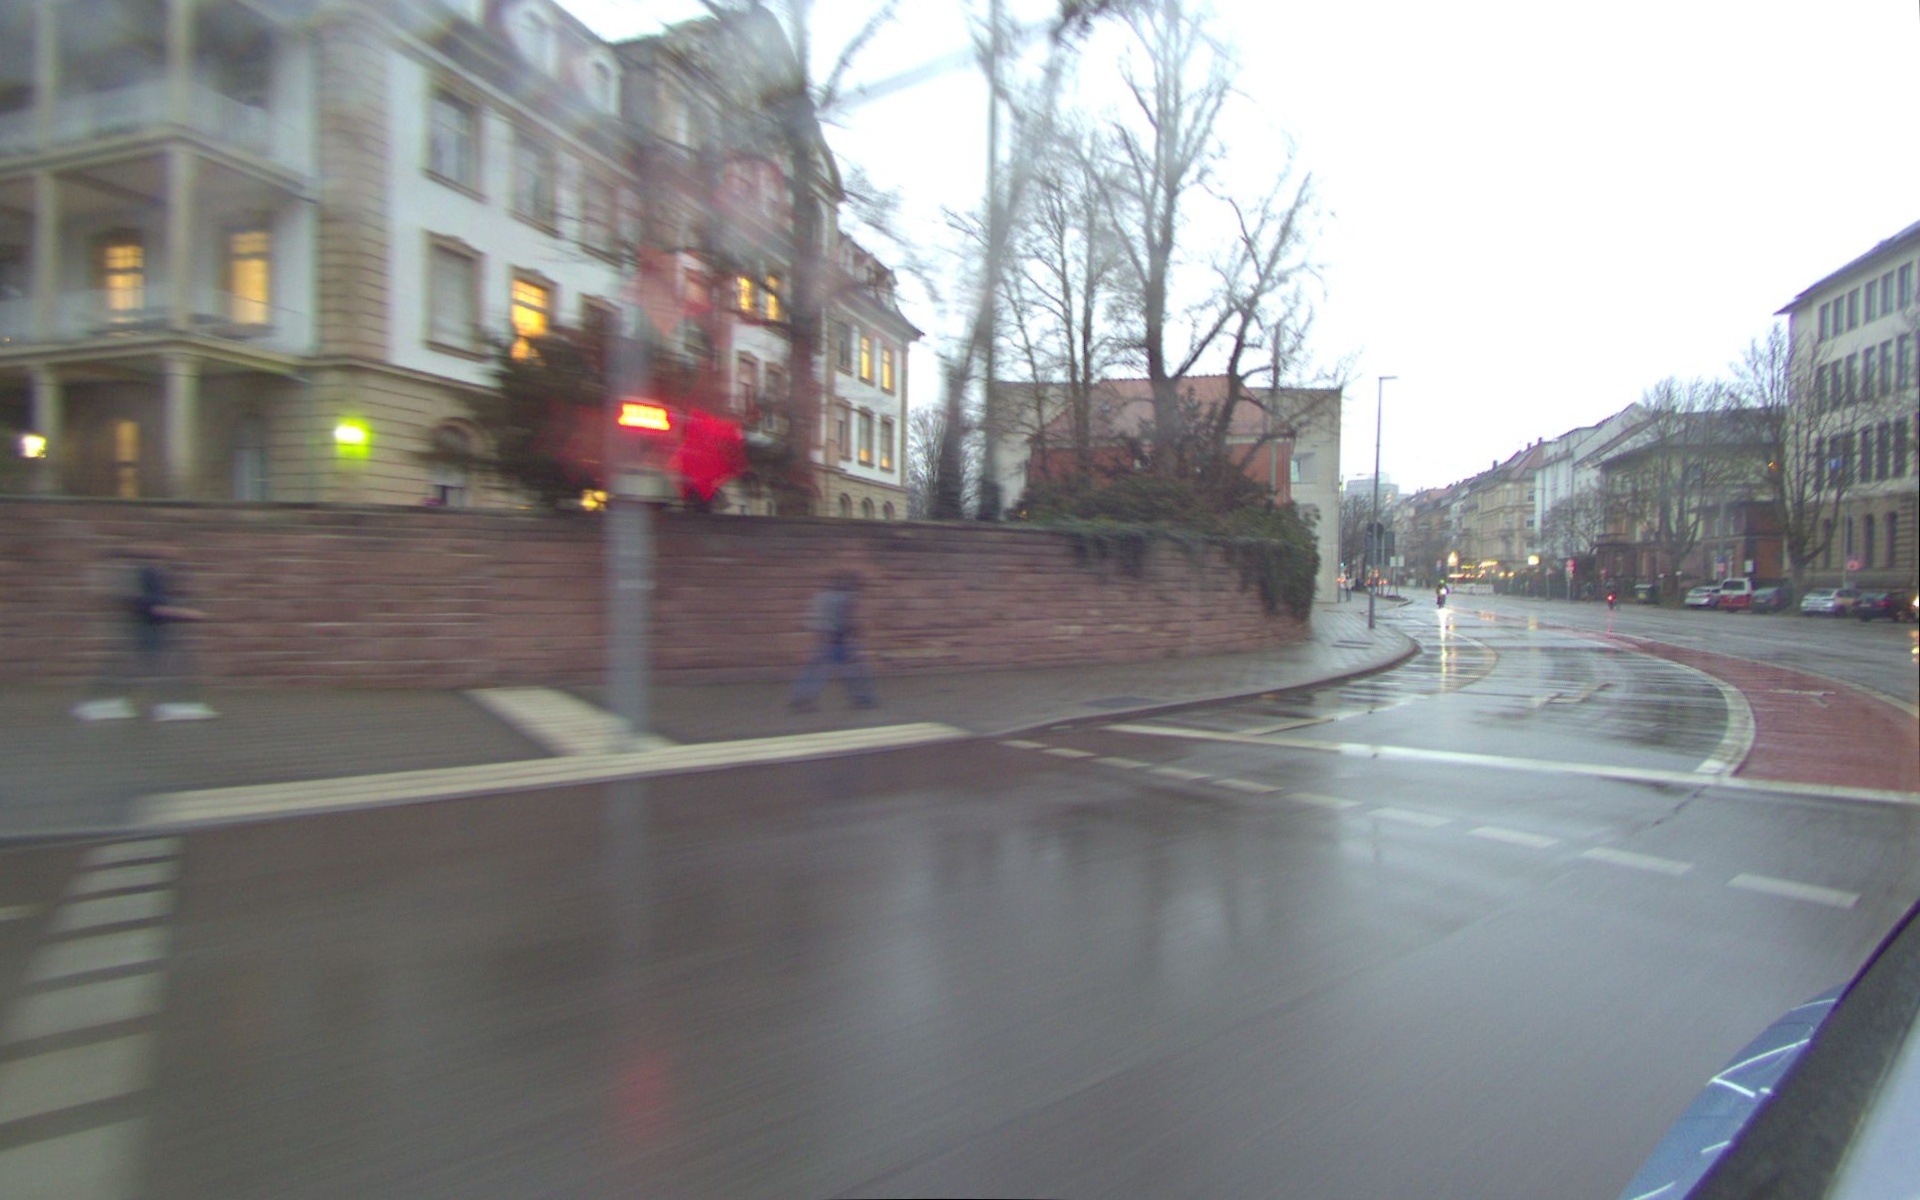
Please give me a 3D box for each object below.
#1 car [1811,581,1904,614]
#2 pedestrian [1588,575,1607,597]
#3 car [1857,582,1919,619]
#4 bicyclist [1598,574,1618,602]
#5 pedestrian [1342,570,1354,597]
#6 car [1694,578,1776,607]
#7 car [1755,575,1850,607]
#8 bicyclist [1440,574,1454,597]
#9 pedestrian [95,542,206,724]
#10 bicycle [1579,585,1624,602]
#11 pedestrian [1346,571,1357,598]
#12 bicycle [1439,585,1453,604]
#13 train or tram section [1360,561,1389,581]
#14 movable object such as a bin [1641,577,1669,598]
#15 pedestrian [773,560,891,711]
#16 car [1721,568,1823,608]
[{"bbox_3d":[44.412,-0.128,50.089,3.747,1.476,1.641,-2,1,-15],"label":"car"},{"bbox_3d":[51.389,-1.101,81.604,0.905,1.724,0.949,-2,1,-4],"label":"pedestrian"},{"bbox_3d":[42.777,-0.023,45.063,4.386,1.476,1.803,-2,1,-8],"label":"car"},{"bbox_3d":[38.255,-0.714,59.745,0.847,1.615,0.775,1,2,23],"label":"bicyclist"},{"bbox_3d":[27.816,-1.199,72.522,0.764,1.881,0.714,2,2,20],"label":"pedestrian"},{"bbox_3d":[48.391,-0.472,63.232,4.098,1.610,1.779,-2,1,-11],"label":"car"},{"bbox_3d":[45.643,-0.484,54.862,3.895,1.558,1.827,-2,1,-9],"label":"car"},{"bbox_3d":[28.857,-0.846,59.970,0.710,1.359,0.713,-1,1,25],"label":"bicyclist"},{"bbox_3d":[-7.994,0.289,9.994,0.789,1.696,0.719,3,2,40],"label":"pedestrian"},{"bbox_3d":[37.982,-0.373,59.952,2.098,0.956,0.937,-1,1,23],"label":"bicycle"},{"bbox_3d":[28.000,-1.123,72.455,0.650,1.882,0.655,2,2,20],"label":"pedestrian"},{"bbox_3d":[28.782,-0.308,59.923,0.716,1.104,2.266,0,0,25],"label":"bicycle"},{"bbox_3d":[82.441,-5.816,201.706,2.849,3.783,27.186,-2,1,17],"label":"train or tram section"},{"bbox_3d":[51.244,-0.916,74.648,0.965,1.482,1.347,-2,1,-19],"label":"movable object such as a bin"},{"bbox_3d":[-1.538,0.393,12.160,1.134,1.705,0.808,1,2,-32],"label":"pedestrian"},{"bbox_3d":[46.506,-0.688,57.988,4.528,2.079,1.969,-2,1,-9],"label":"car"}]
